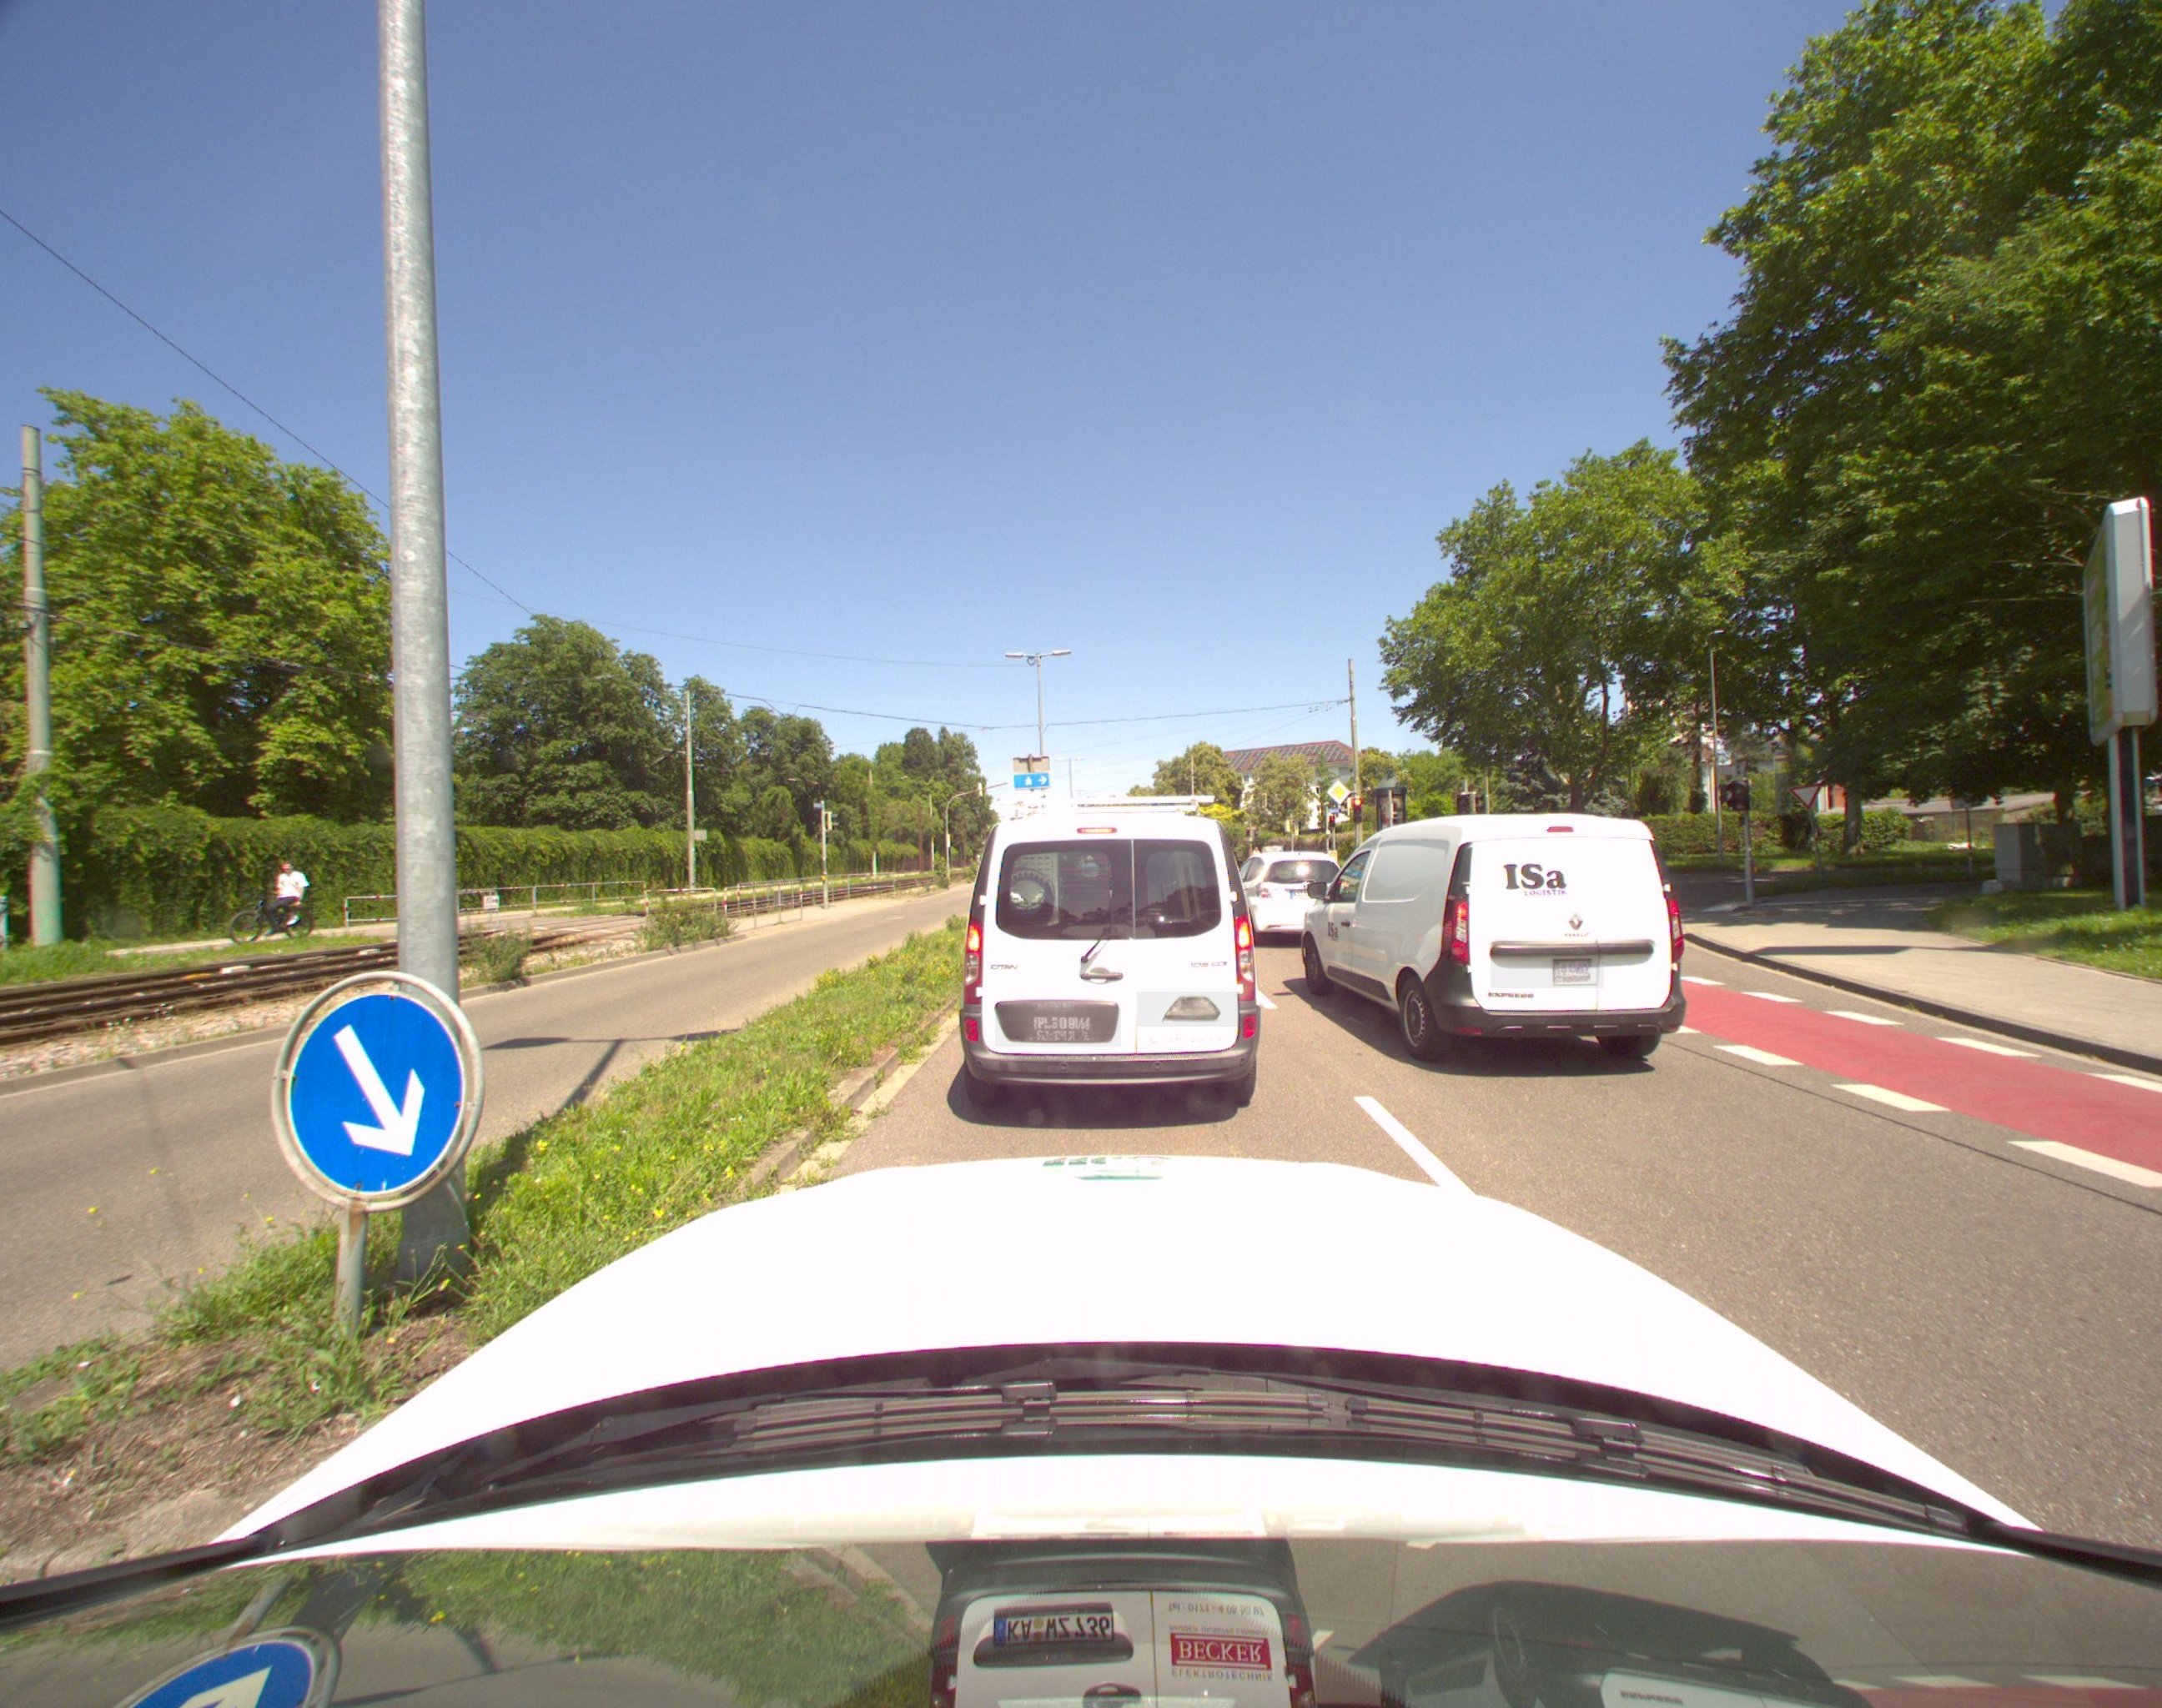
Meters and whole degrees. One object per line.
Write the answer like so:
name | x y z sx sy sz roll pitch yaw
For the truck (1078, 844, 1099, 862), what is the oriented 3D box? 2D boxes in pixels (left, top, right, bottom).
truck | 1.462 -0.169 166.360 3.568 3.632 8.798 -2 0 -3

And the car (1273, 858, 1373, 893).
car | 10.430 0.934 35.141 3.835 1.311 1.707 -3 0 27

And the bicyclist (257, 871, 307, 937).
bicyclist | -18.534 1.155 18.904 0.555 1.478 0.562 -2 0 2

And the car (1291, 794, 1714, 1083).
car | 3.230 0.546 7.251 1.704 1.830 4.013 -1 0 0

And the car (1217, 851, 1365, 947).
car | 3.605 0.702 14.671 1.749 1.486 4.002 0 0 2

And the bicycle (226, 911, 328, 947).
bicycle | -18.510 1.719 18.805 0.559 0.647 1.721 -2 0 3

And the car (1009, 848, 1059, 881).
car | -3.068 0.690 52.700 2.002 2.013 3.970 -2 0 -22

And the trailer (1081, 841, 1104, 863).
trailer | 2.137 -0.436 157.511 3.521 4.050 8.964 -2 0 -4

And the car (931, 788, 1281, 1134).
car | 0.171 0.578 6.297 1.860 1.836 3.849 -1 0 1
